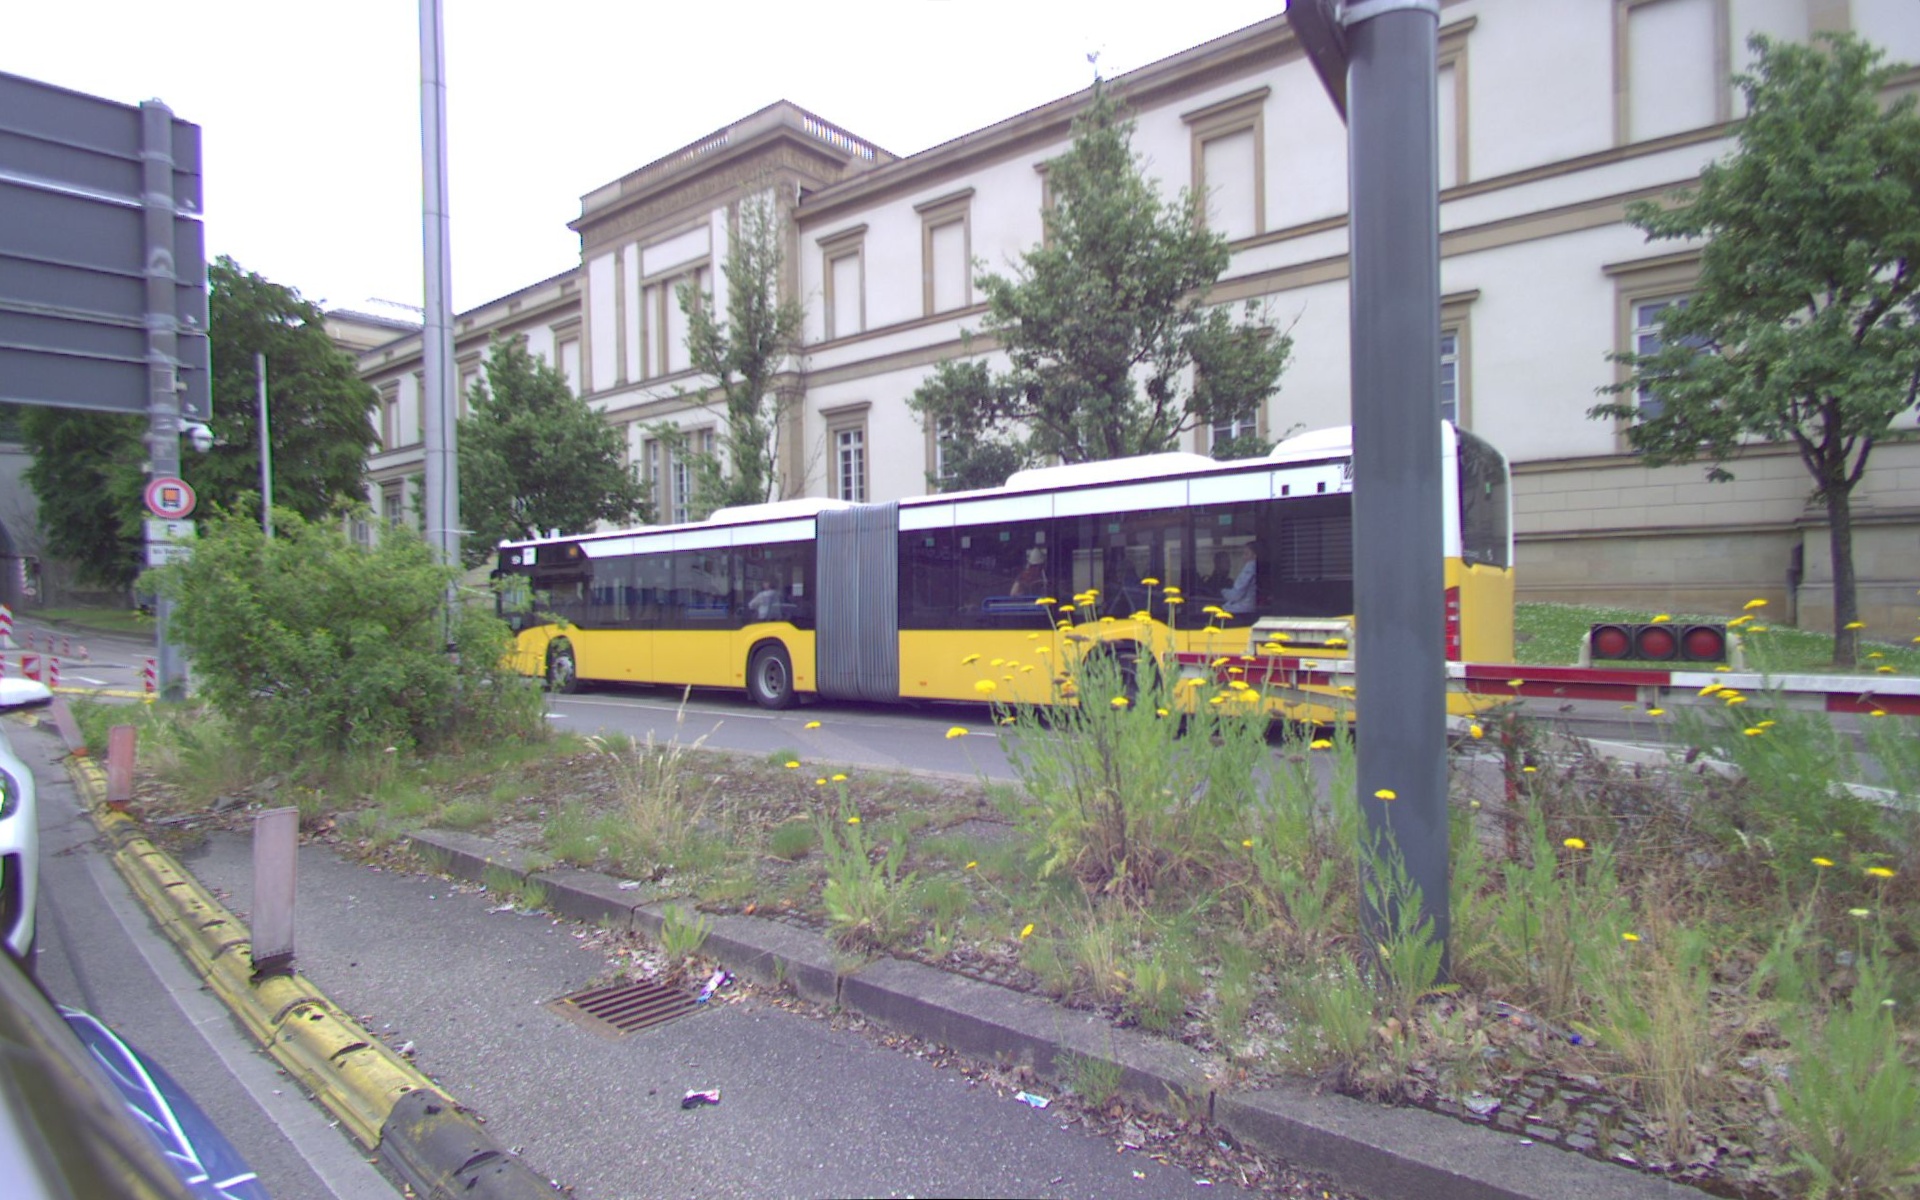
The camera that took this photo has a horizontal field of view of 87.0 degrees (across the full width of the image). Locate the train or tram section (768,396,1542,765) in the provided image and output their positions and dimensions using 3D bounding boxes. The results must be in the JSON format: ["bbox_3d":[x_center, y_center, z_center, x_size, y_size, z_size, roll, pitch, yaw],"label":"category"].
[{"bbox_3d":[1.630,-0.054,12.541,9.330,3.094,2.666,-2,-2,41],"label":"train or tram section"}]

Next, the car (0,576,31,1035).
[{"bbox_3d":[-5.242,0.726,4.210,3.911,1.568,1.733,-1,0,43],"label":"car"}]

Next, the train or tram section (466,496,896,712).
[{"bbox_3d":[-5.516,0.169,18.545,9.366,3.094,2.667,-2,-2,39],"label":"train or tram section"}]
